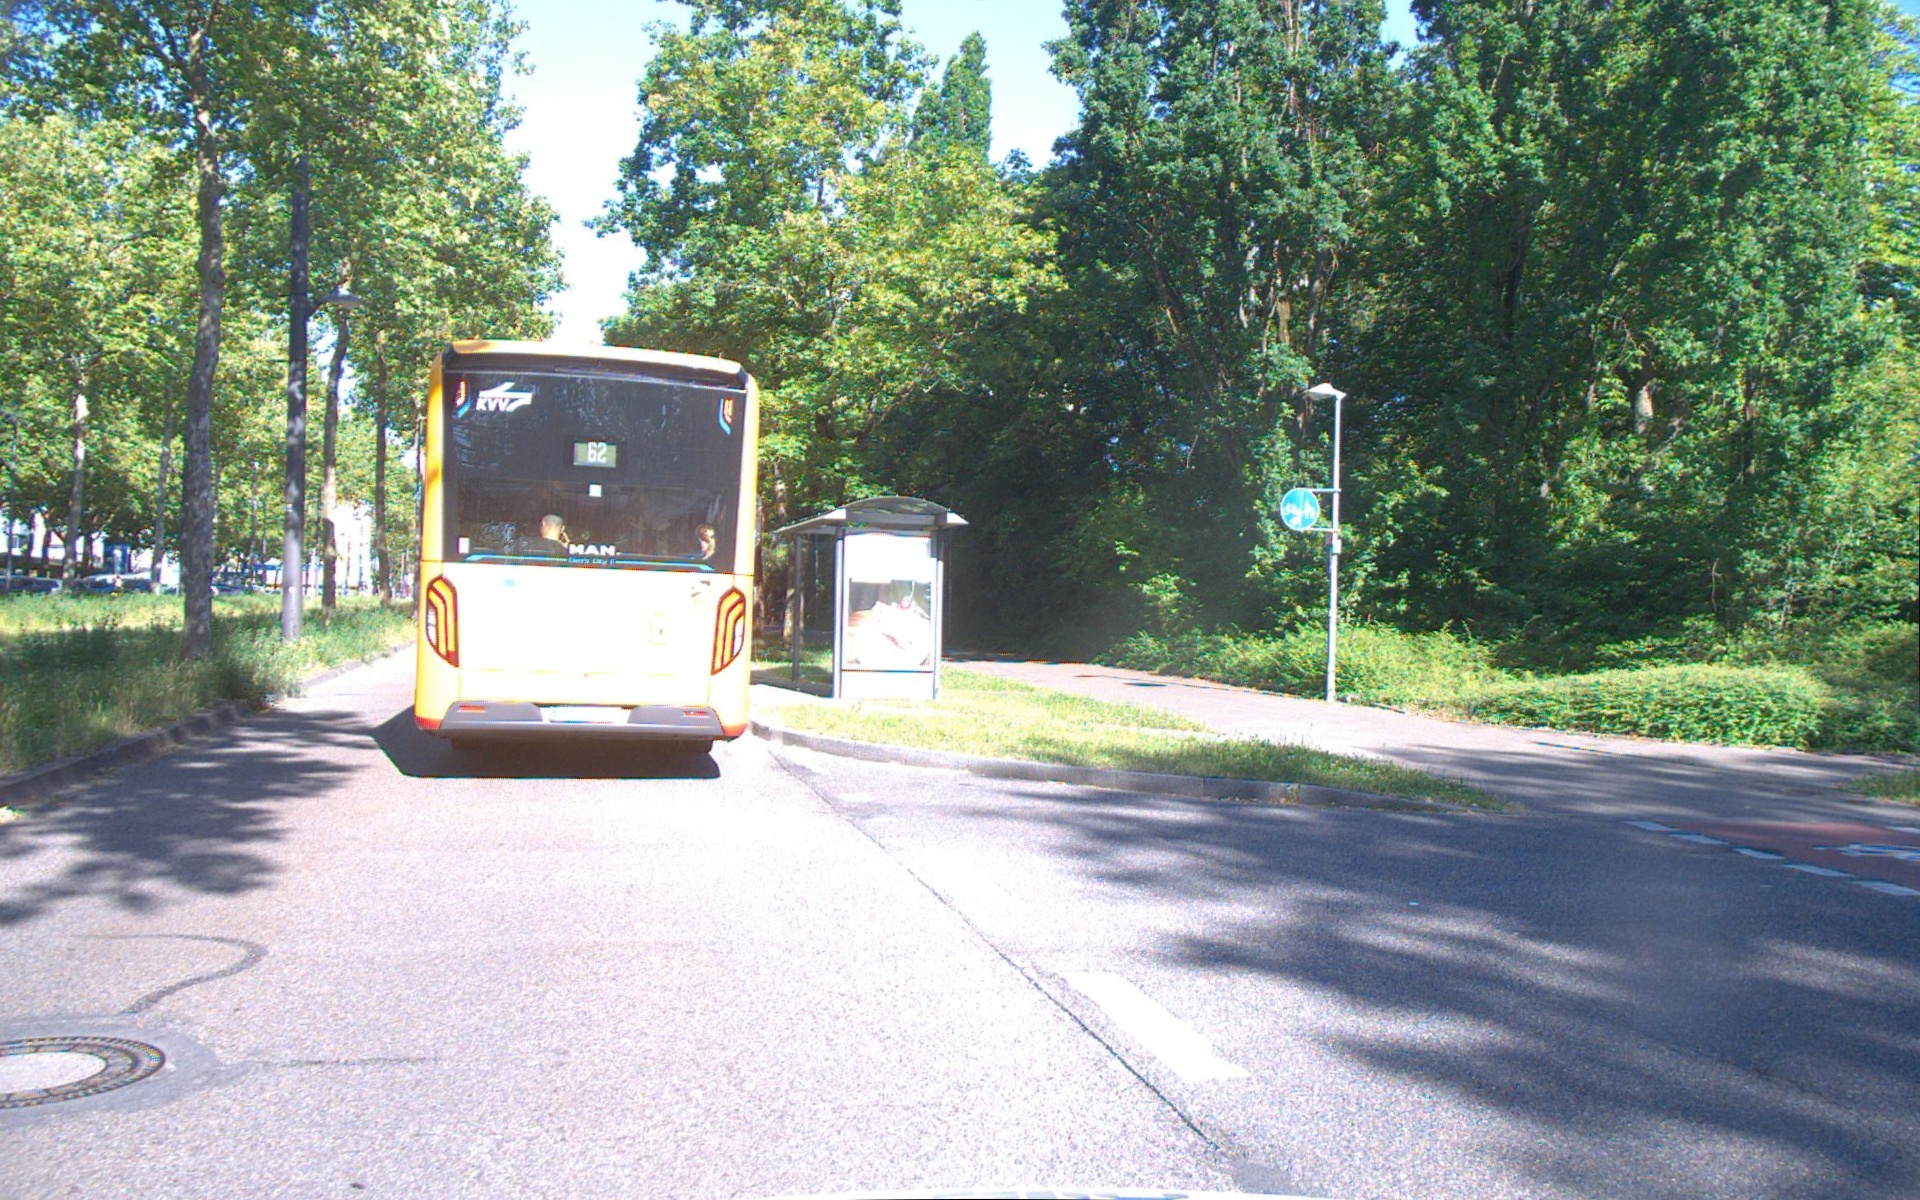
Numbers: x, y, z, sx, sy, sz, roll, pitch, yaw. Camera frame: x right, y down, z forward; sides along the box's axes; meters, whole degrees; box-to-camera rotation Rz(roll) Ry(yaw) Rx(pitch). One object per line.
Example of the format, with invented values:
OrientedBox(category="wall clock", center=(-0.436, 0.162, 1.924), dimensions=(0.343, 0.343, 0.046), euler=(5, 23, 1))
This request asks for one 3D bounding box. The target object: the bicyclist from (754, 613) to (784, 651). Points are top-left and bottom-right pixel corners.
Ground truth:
OrientedBox(category="bicyclist", center=(-8.792, 1.471, 76.032), dimensions=(1.162, 1.690, 1.023), euler=(1, 0, -20))

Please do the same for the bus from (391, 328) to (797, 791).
OrientedBox(category="bus", center=(-3.941, -0.282, 18.141), dimensions=(2.849, 3.324, 12.179), euler=(1, 0, -12))

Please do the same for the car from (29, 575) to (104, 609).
OrientedBox(category="car", center=(-41.485, -0.372, 76.901), dimensions=(1.761, 1.537, 3.992), euler=(1, 0, -8))
